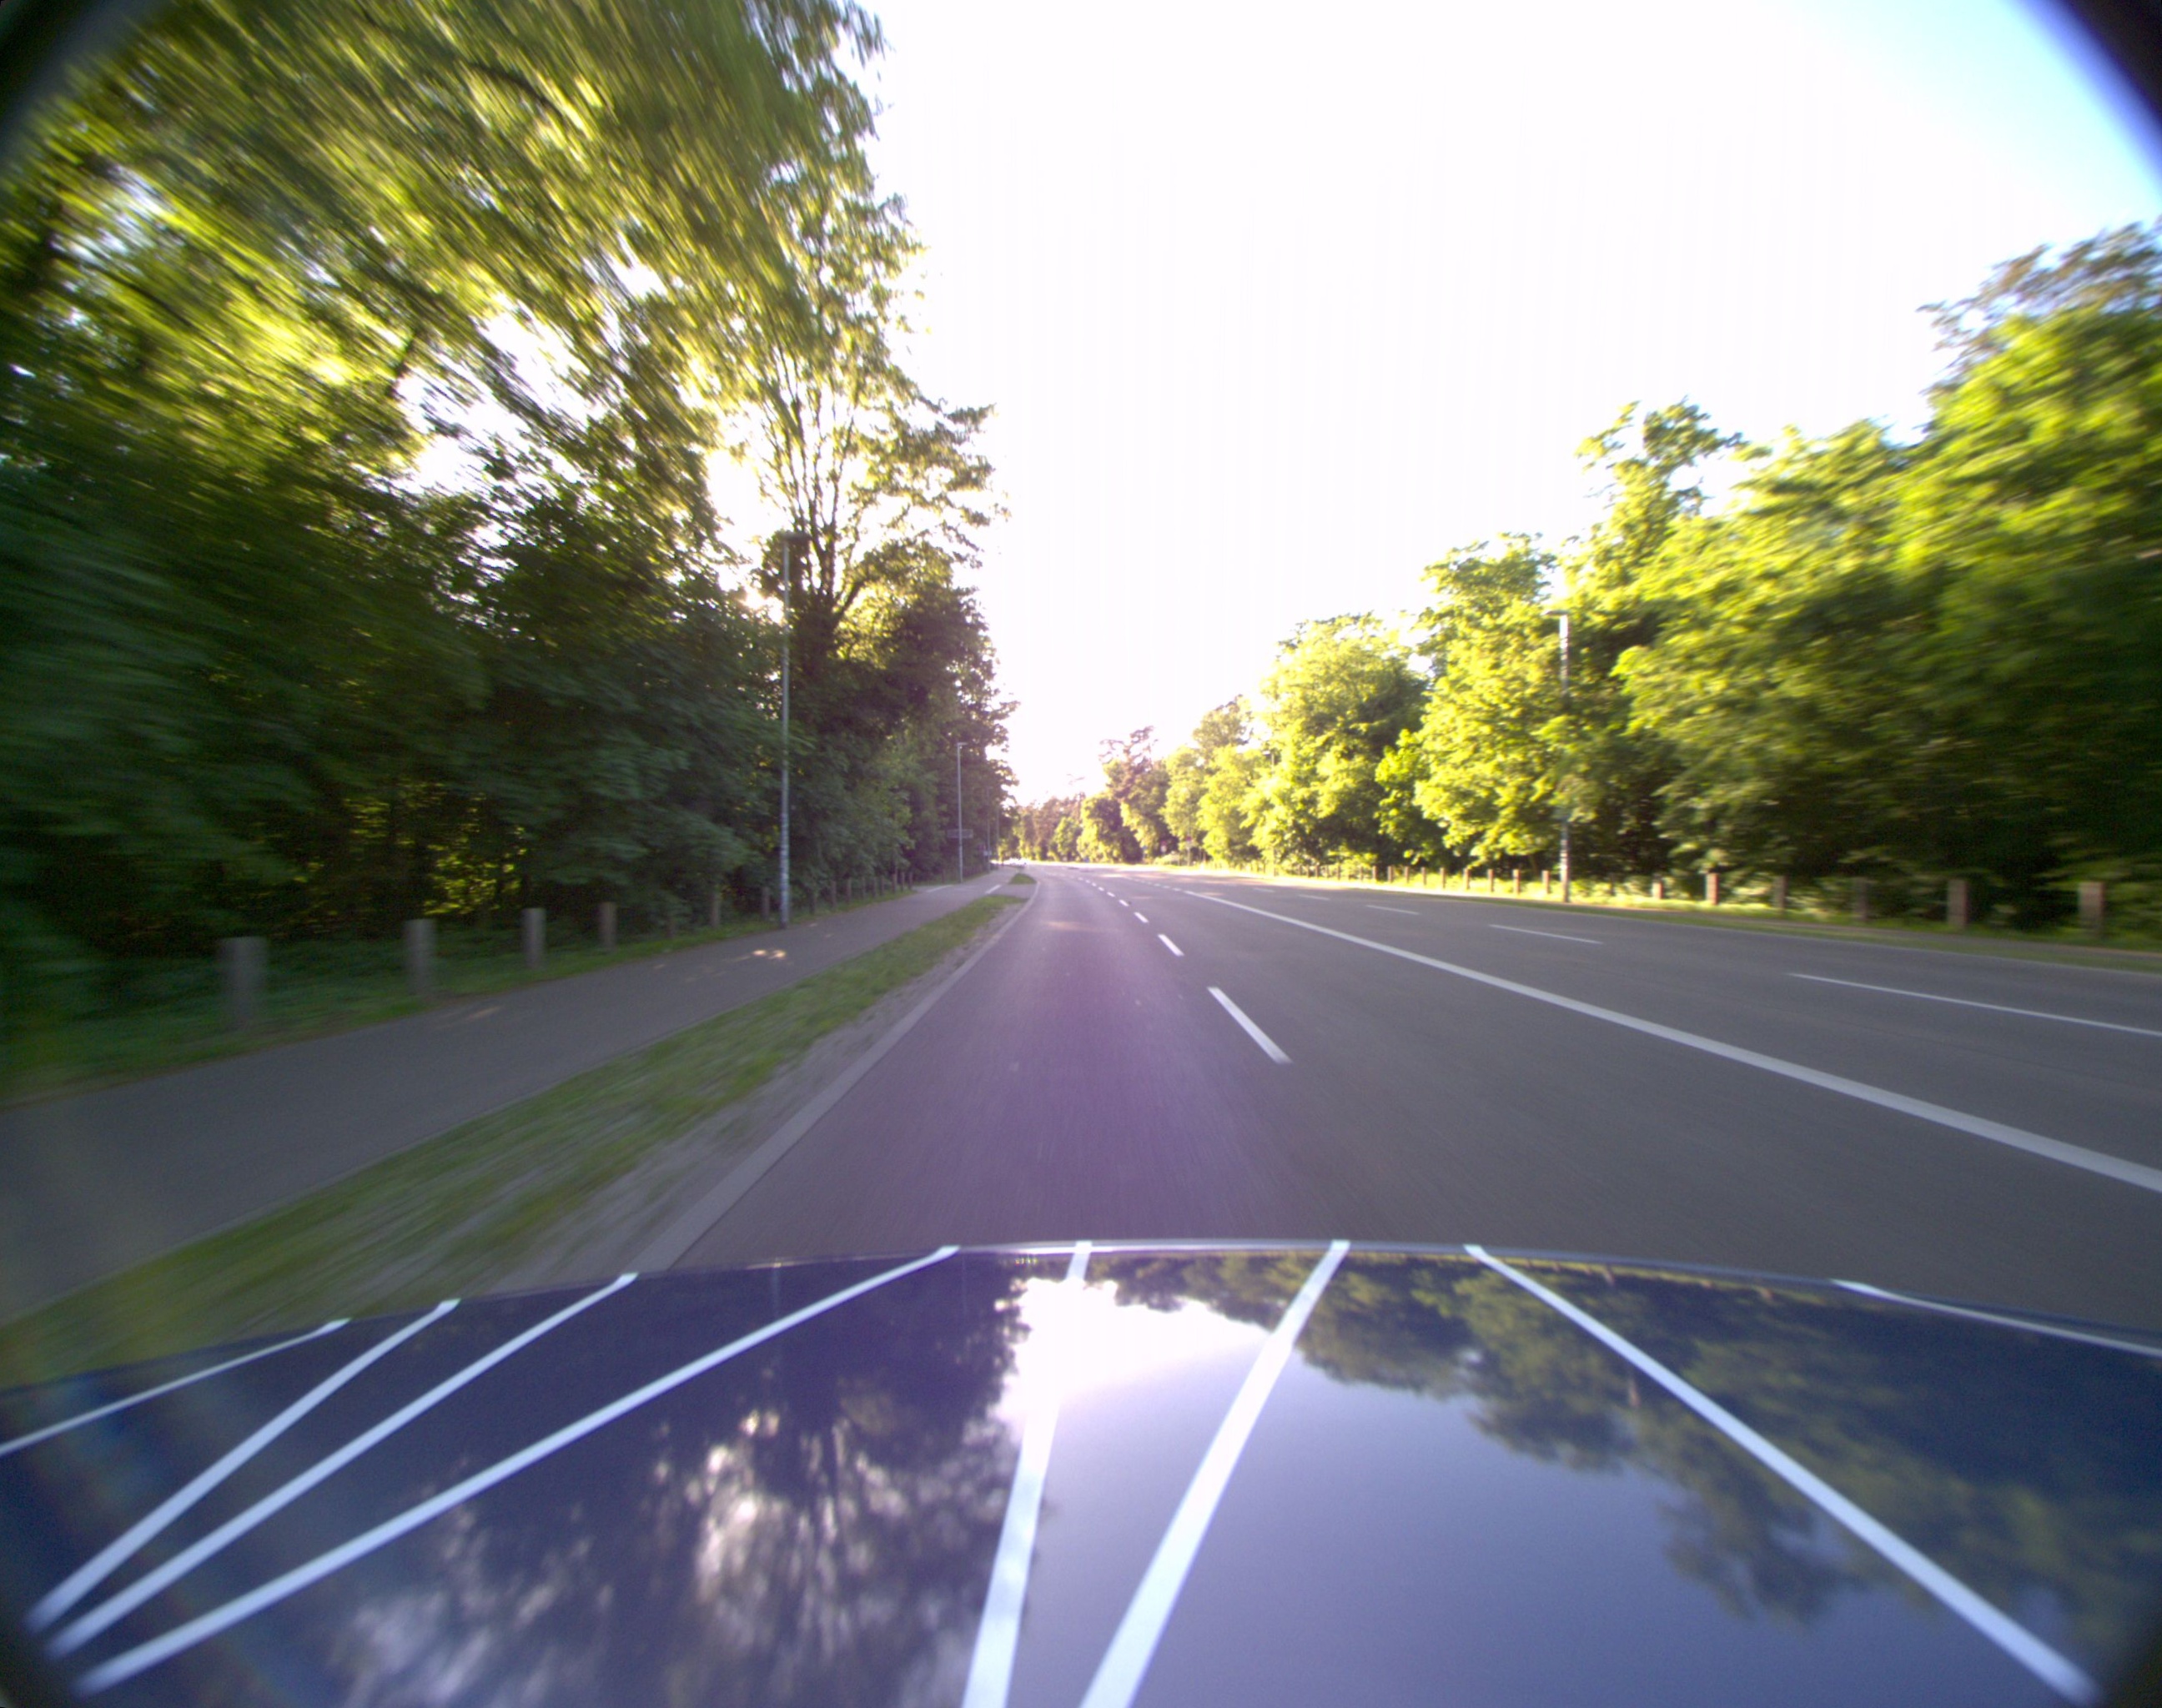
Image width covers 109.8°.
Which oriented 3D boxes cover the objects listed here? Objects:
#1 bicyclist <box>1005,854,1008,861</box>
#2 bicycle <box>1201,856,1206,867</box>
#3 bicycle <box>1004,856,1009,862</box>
[{"bbox_3d":[-13.134,0.595,133.577,0.515,1.260,0.497,-1,1,-10],"label":"bicyclist"},{"bbox_3d":[12.401,0.756,76.938,0.402,1.125,2.220,-2,1,5],"label":"bicycle"},{"bbox_3d":[-13.125,0.863,133.690,0.609,1.051,2.872,-1,0,-10],"label":"bicycle"}]
